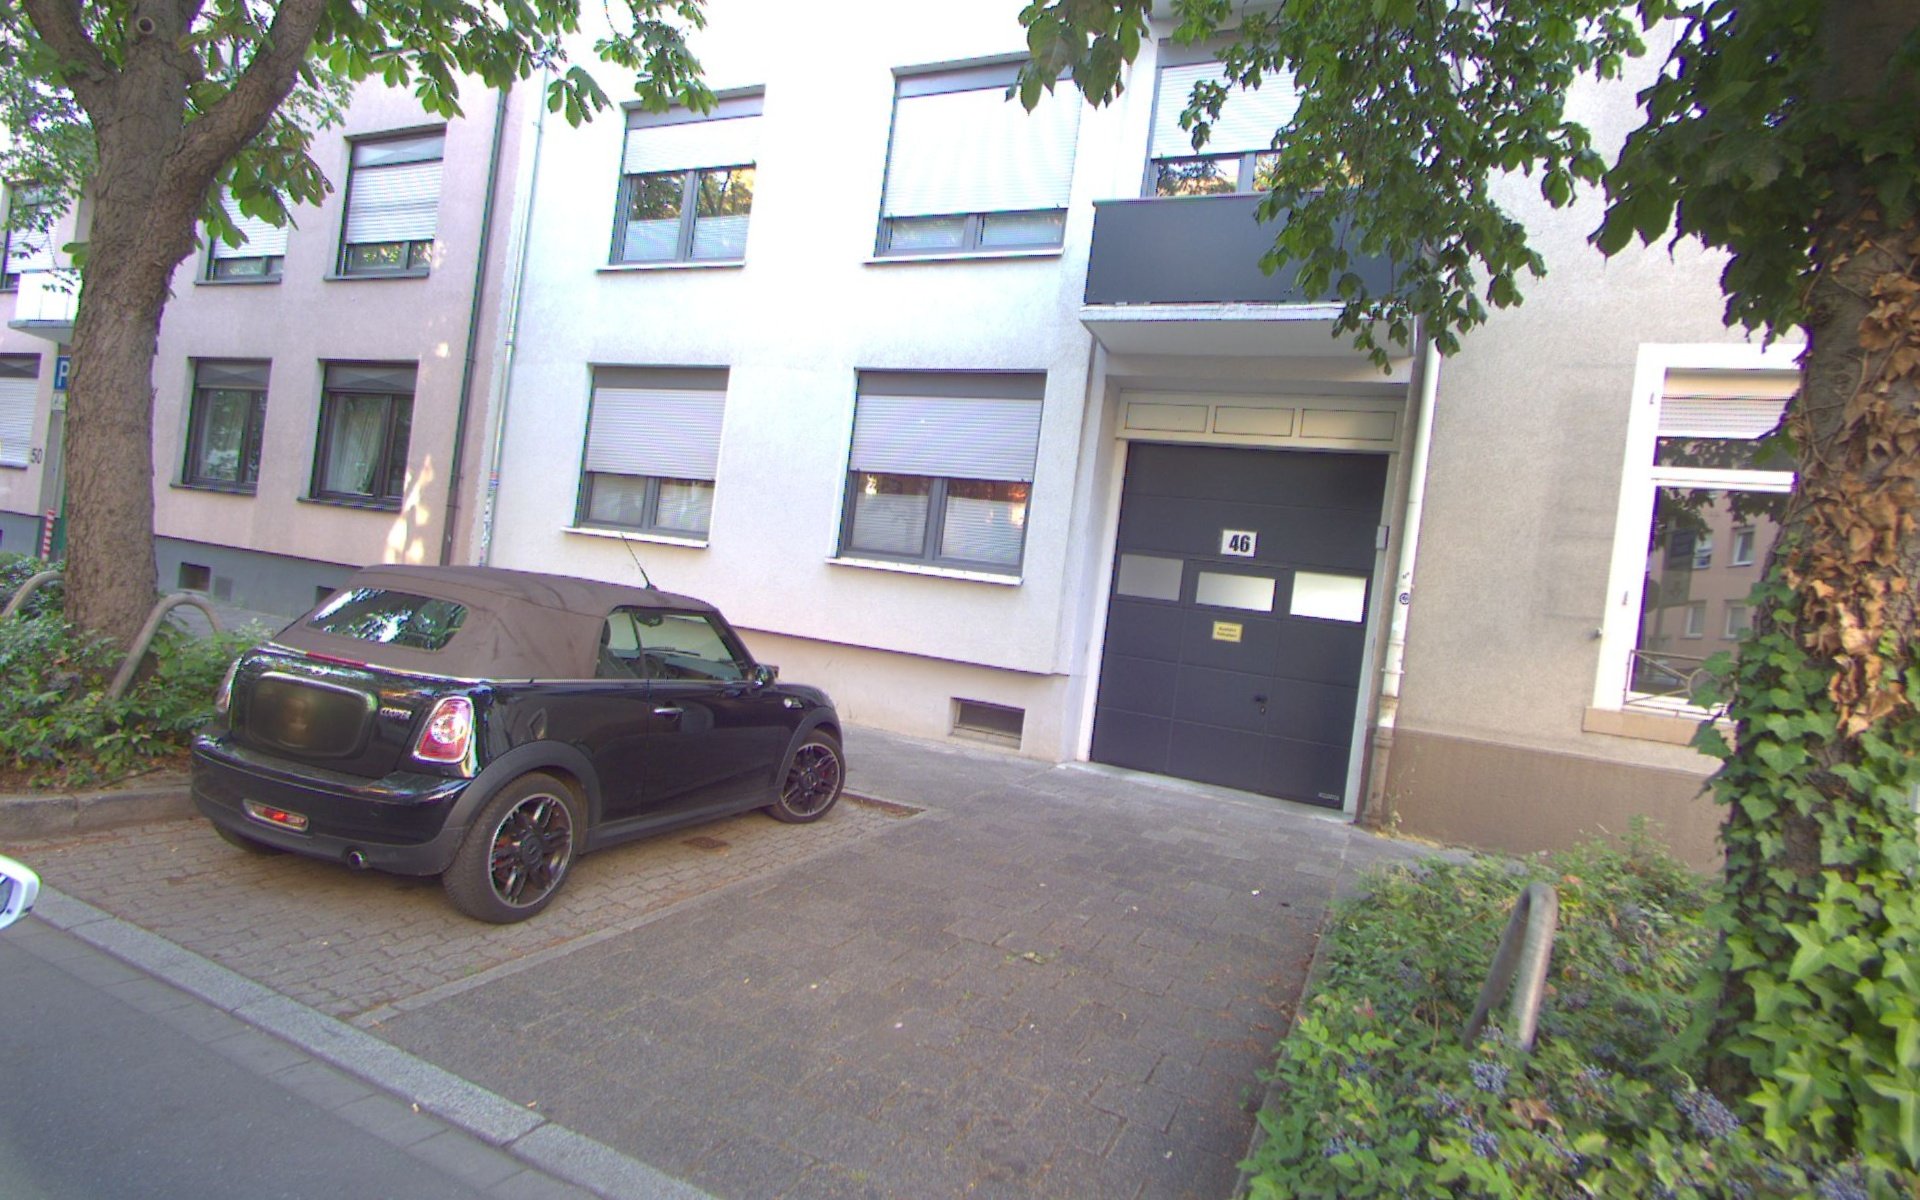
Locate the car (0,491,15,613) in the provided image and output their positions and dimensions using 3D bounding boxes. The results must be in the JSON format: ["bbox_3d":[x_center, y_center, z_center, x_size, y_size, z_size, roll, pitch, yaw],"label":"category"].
[{"bbox_3d":[-13.347,-0.805,11.042,1.634,1.494,3.921,7,-1,24],"label":"car"}]

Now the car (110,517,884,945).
[{"bbox_3d":[-2.019,0.550,5.526,1.634,1.380,3.622,7,-1,22],"label":"car"}]

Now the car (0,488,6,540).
[{"bbox_3d":[-8.159,-0.253,5.044,4.730,1.497,1.779,8,-1,-42],"label":"car"}]
